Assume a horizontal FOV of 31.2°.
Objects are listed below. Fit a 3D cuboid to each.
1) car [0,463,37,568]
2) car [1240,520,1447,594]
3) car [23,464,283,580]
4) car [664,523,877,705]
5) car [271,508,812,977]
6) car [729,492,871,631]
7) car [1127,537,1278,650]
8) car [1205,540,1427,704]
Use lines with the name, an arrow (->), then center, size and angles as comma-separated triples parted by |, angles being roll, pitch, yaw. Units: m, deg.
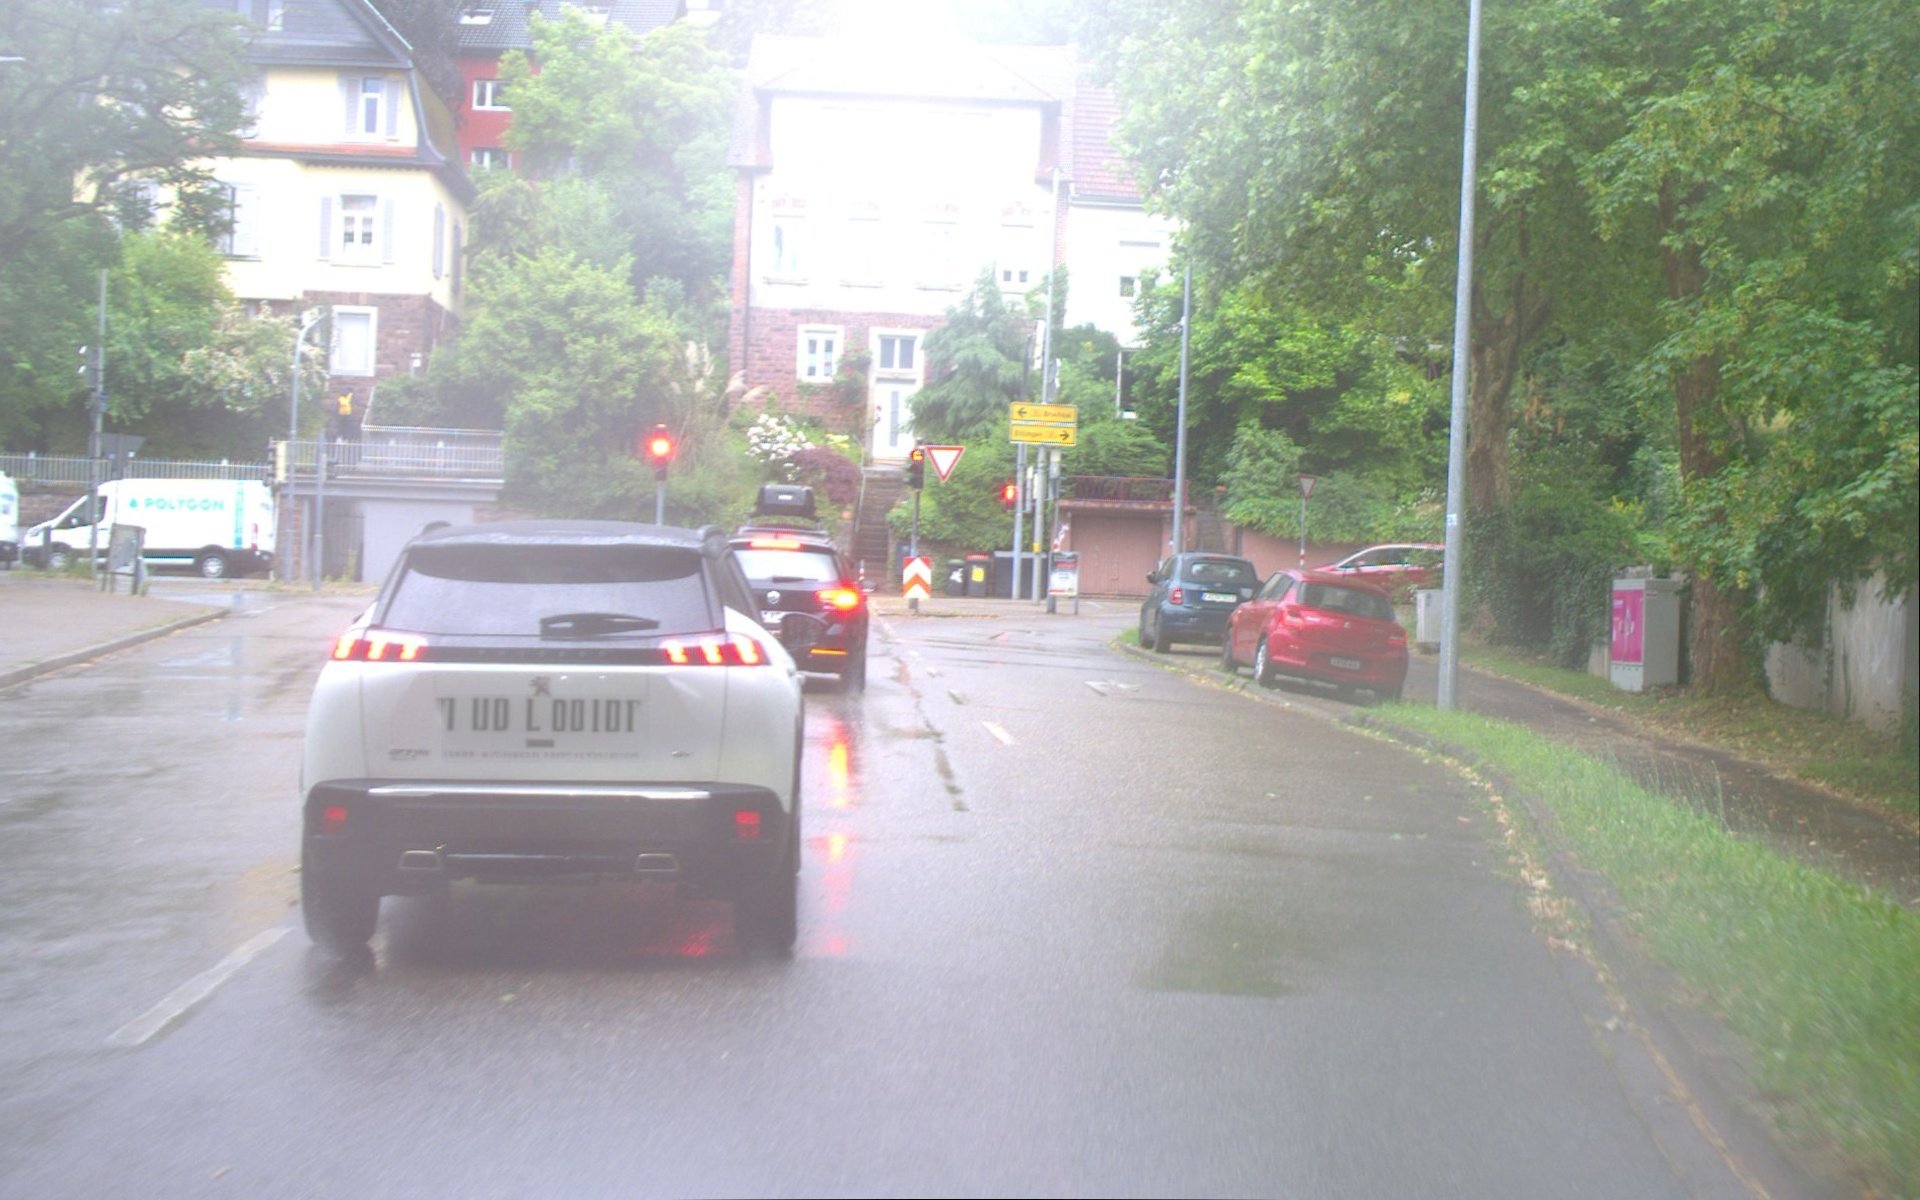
car -> -25.577, -2.169, 83.564 | 5.562, 2.485, 2.316 | 3, 0, -1
car -> 8.876, -0.992, 79.800 | 4.568, 1.595, 1.775 | 1, 0, -1
car -> -19.559, -1.874, 83.502 | 5.660, 2.485, 2.316 | 3, 0, -1
car -> -1.820, 0.080, 33.768 | 1.831, 1.451, 4.659 | 5, 2, -2
car -> -1.491, 0.434, 13.662 | 1.752, 1.530, 4.368 | 1, 1, -2
car -> -2.259, -0.574, 47.664 | 1.760, 1.705, 4.602 | 3, 2, -4
car -> 3.602, -0.120, 51.556 | 1.749, 1.486, 3.600 | 5, 1, -2
car -> 4.294, 0.229, 42.032 | 1.819, 1.512, 3.744 | 9, 2, -5
